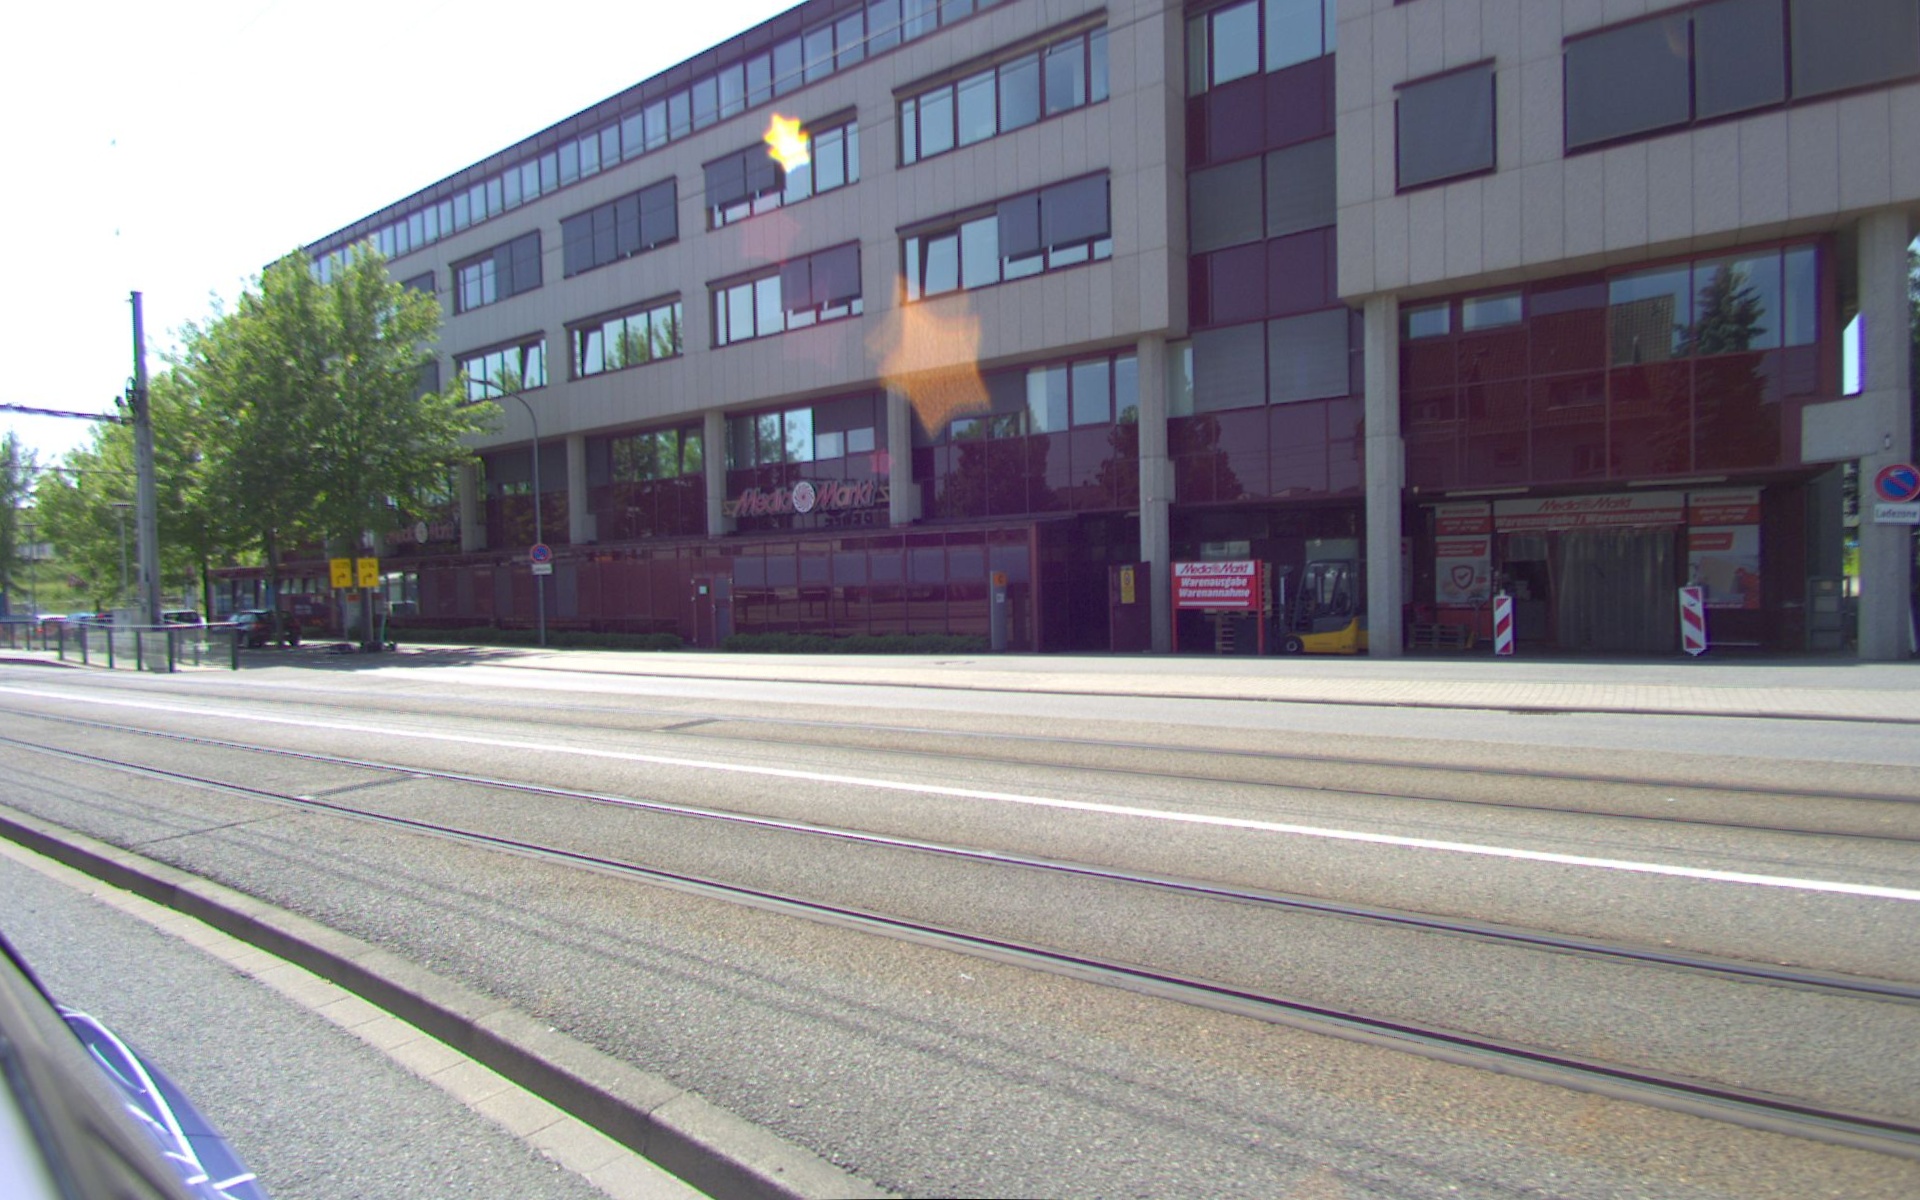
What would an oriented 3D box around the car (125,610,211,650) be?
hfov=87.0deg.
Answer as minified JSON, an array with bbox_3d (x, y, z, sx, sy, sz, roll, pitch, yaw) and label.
[{"bbox_3d":[-32.736,1.248,41.805,3.896,1.474,1.708,-2,2,36],"label":"car"}]

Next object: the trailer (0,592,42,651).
[{"bbox_3d":[-46.754,1.097,48.102,7.578,2.648,2.775,-2,1,33],"label":"trailer"}]

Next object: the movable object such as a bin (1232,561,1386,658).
[{"bbox_3d":[7.777,0.210,22.589,3.061,2.029,1.986,-1,0,22],"label":"movable object such as a bin"}]

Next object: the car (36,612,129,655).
[{"bbox_3d":[-33.759,1.286,38.915,4.060,1.596,1.708,-1,-2,34],"label":"car"}]

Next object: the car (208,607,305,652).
[{"bbox_3d":[-26.640,1.107,38.280,3.991,1.530,1.745,-1,1,36],"label":"car"}]

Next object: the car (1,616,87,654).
[{"bbox_3d":[-38.442,1.450,42.445,4.268,1.483,1.708,-1,-1,34],"label":"car"}]
